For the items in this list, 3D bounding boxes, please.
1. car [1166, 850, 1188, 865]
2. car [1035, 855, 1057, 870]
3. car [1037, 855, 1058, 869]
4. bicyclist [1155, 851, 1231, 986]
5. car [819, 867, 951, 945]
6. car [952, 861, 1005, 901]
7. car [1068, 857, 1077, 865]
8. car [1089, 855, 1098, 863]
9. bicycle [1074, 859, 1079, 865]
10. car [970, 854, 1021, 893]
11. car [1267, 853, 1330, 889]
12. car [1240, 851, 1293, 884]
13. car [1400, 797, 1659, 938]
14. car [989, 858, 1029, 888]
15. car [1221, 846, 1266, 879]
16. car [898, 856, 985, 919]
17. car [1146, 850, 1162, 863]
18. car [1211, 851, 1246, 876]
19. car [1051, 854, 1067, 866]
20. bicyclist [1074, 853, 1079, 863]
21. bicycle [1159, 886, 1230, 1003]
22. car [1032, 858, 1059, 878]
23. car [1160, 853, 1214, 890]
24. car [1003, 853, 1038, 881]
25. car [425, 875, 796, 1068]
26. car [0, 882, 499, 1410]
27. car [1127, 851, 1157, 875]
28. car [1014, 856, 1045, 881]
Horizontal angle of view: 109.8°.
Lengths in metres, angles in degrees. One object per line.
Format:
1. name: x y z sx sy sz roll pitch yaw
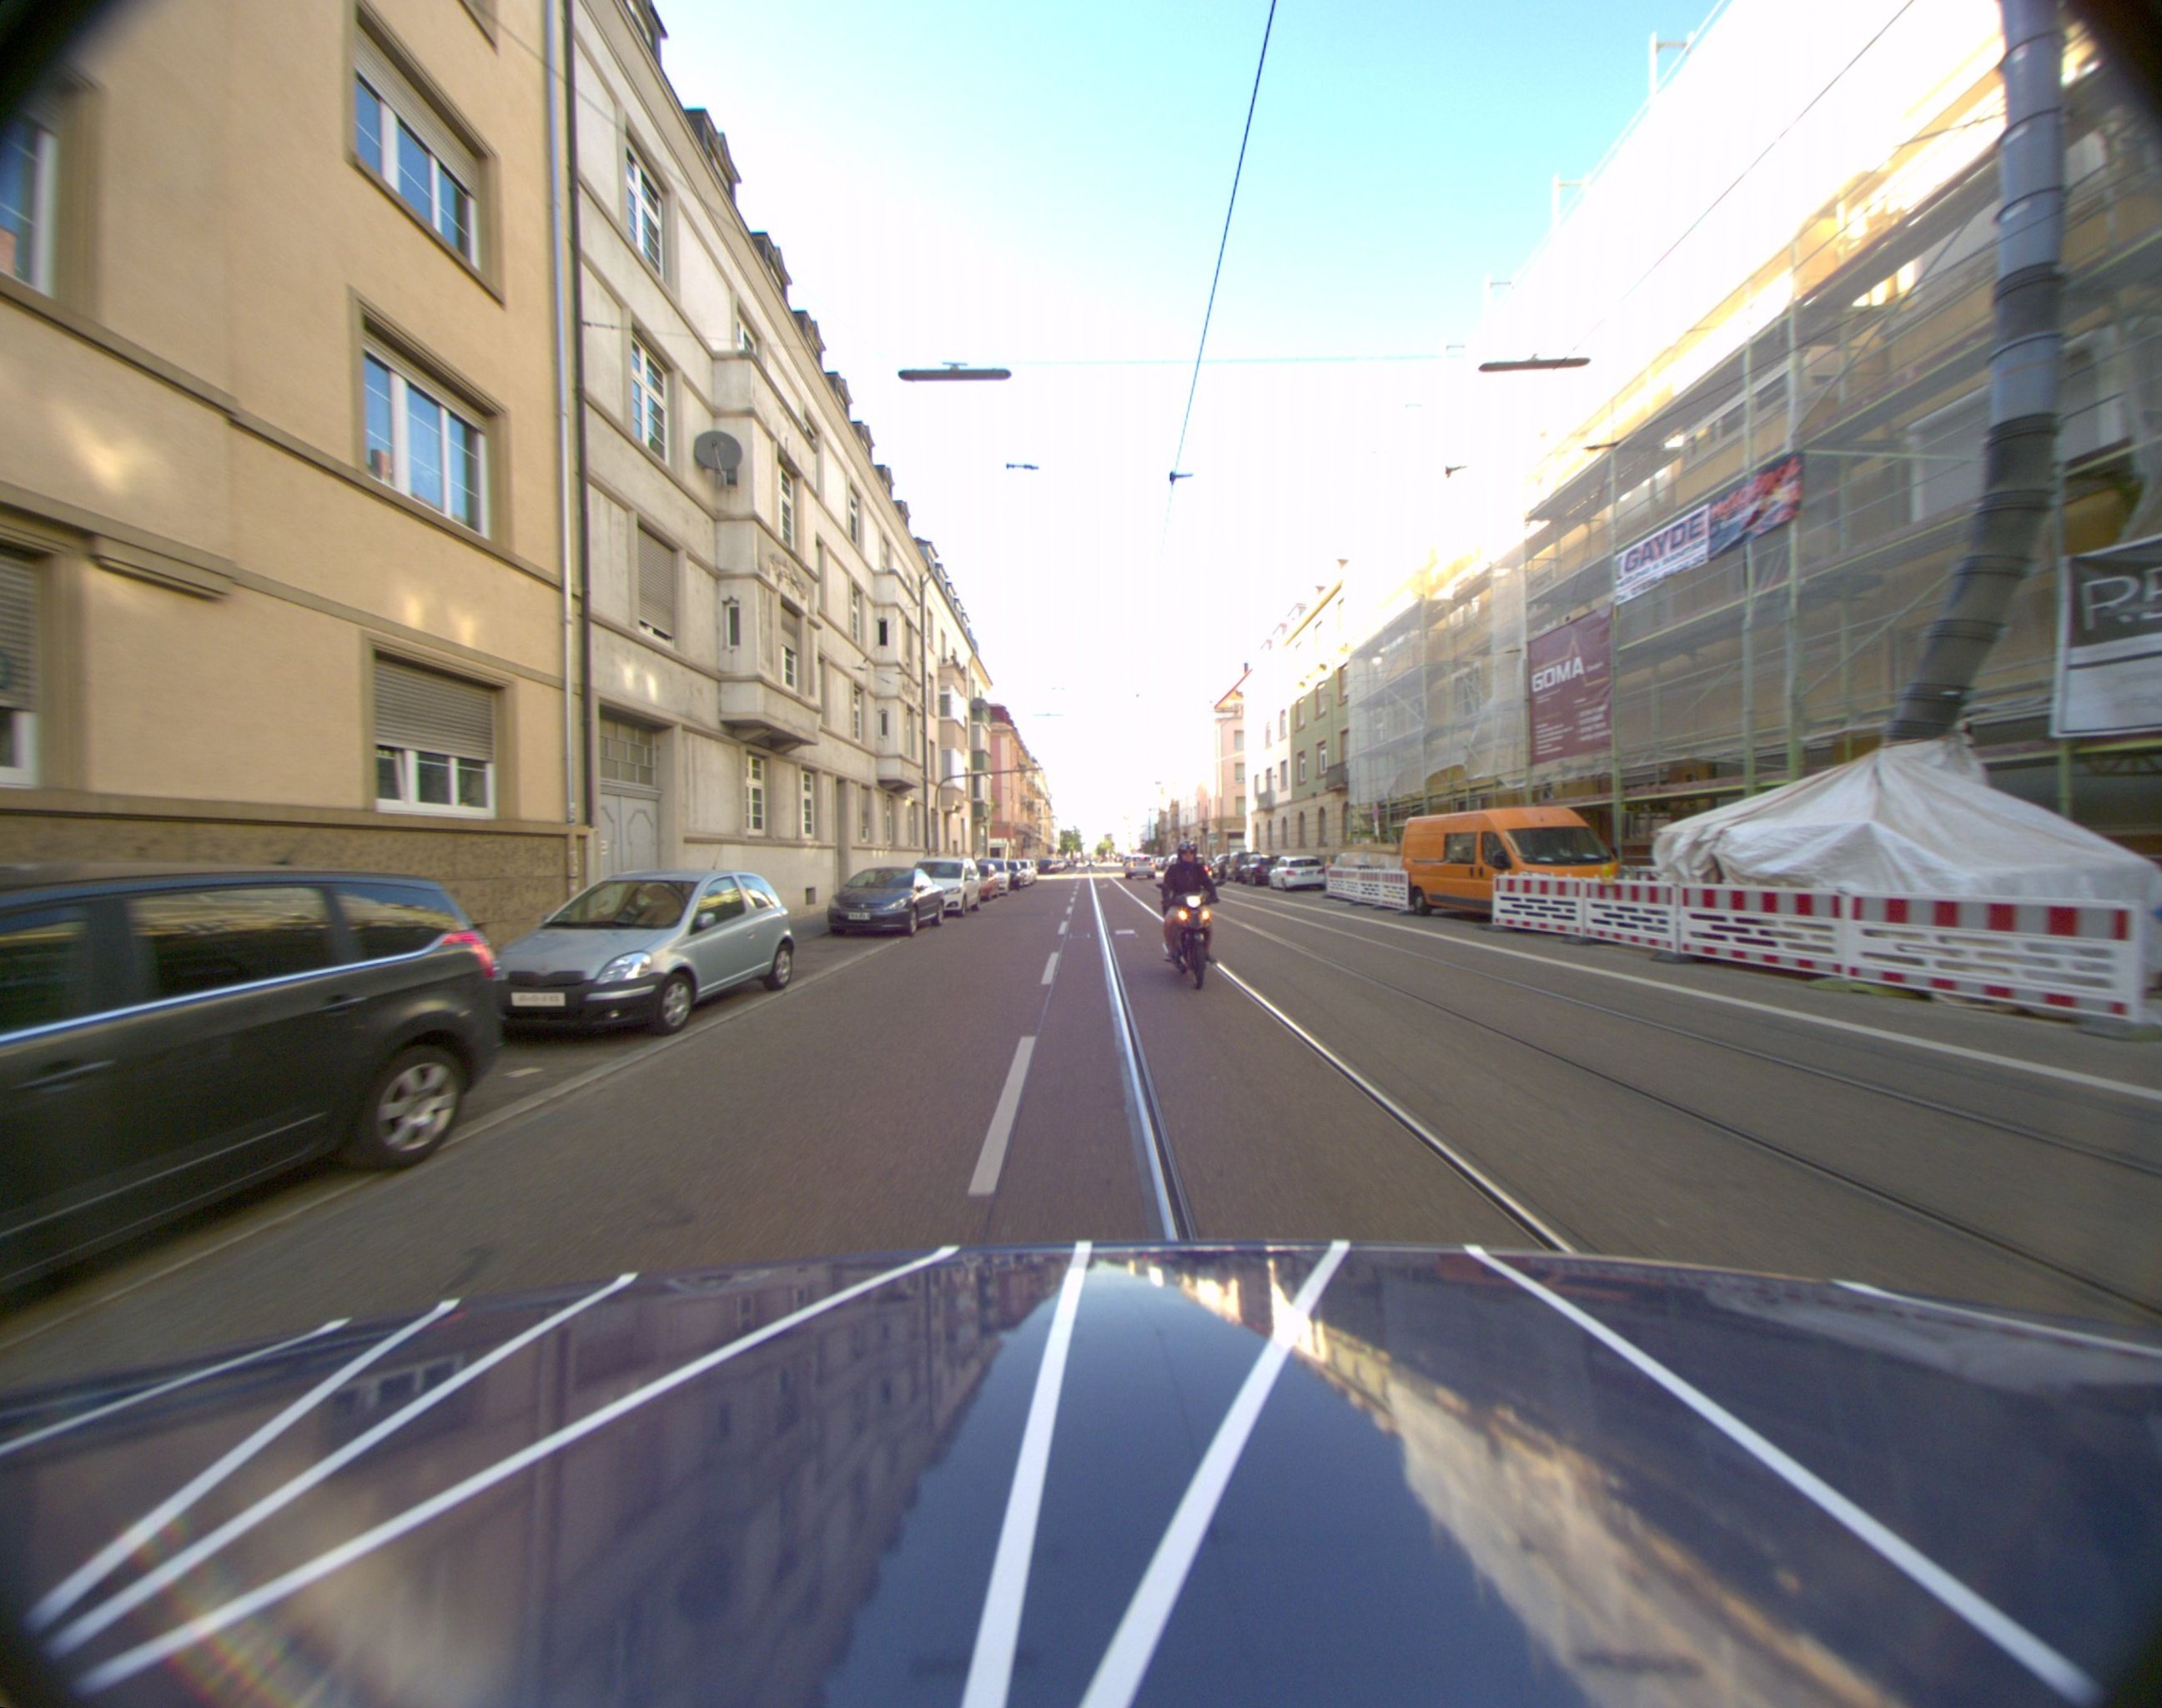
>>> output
1. car: 10.284 0.366 81.831 1.798 1.494 3.769 -3 0 0
2. car: -3.521 0.833 76.749 1.998 1.412 3.727 -1 0 1
3. car: -3.554 0.795 81.050 1.998 1.412 3.727 -1 0 1
4. bicyclist: 1.333 0.749 9.192 0.843 1.545 0.850 -1 1 5
5. car: -4.205 1.052 17.015 1.703 1.444 4.206 0 0 2
6. car: -4.120 1.053 31.007 1.570 1.475 3.365 0 0 2
7. car: -1.822 1.422 163.822 1.998 1.674 4.000 -1 0 1
8. car: 2.857 1.150 169.664 1.998 1.586 4.000 -1 0 1
9. bicycle: -0.747 1.248 120.211 0.744 0.850 1.886 -1 0 0
10. car: -3.900 0.860 35.337 1.702 1.688 4.188 0 0 3
11. car: 9.699 0.737 34.231 1.751 1.502 4.000 -1 0 1
12. car: 9.742 0.661 40.199 1.702 1.569 4.223 -3 0 0
13. car: 9.131 0.233 16.341 2.125 2.455 6.000 -1 0 1
14. car: -3.836 0.977 41.006 1.703 1.496 3.863 -1 0 2
15. car: 9.829 0.491 46.159 1.798 1.836 3.769 -3 0 0
16. car: -4.072 0.915 22.902 1.713 1.683 4.589 0 0 0
17. car: 10.756 0.361 112.248 1.998 2.002 4.000 -1 0 0
18. car: 9.914 0.600 51.161 1.798 1.601 3.770 -1 0 4
19. car: -3.090 0.882 106.741 1.998 1.630 4.000 -1 0 1
20. bicyclist: -0.741 0.620 120.319 0.744 1.481 0.816 -1 1 0
21. bicycle: 1.329 1.029 9.224 0.740 1.170 1.975 -1 0 6
22. car: -2.719 1.042 58.846 1.702 1.465 3.780 0 0 3
23. car: 4.968 0.762 36.058 1.825 1.559 4.200 -3 0 -1
24. car: -3.636 0.783 46.121 1.703 1.581 3.961 -1 0 1
25. car: -4.473 1.005 7.900 1.612 1.454 3.480 0 0 2
26. car: -4.428 0.998 2.437 1.794 1.642 4.366 0 0 -1
27. car: 4.201 0.607 53.014 1.771 1.598 4.293 -1 0 0
28. car: -3.532 0.975 52.486 1.702 1.581 3.355 1 0 3
